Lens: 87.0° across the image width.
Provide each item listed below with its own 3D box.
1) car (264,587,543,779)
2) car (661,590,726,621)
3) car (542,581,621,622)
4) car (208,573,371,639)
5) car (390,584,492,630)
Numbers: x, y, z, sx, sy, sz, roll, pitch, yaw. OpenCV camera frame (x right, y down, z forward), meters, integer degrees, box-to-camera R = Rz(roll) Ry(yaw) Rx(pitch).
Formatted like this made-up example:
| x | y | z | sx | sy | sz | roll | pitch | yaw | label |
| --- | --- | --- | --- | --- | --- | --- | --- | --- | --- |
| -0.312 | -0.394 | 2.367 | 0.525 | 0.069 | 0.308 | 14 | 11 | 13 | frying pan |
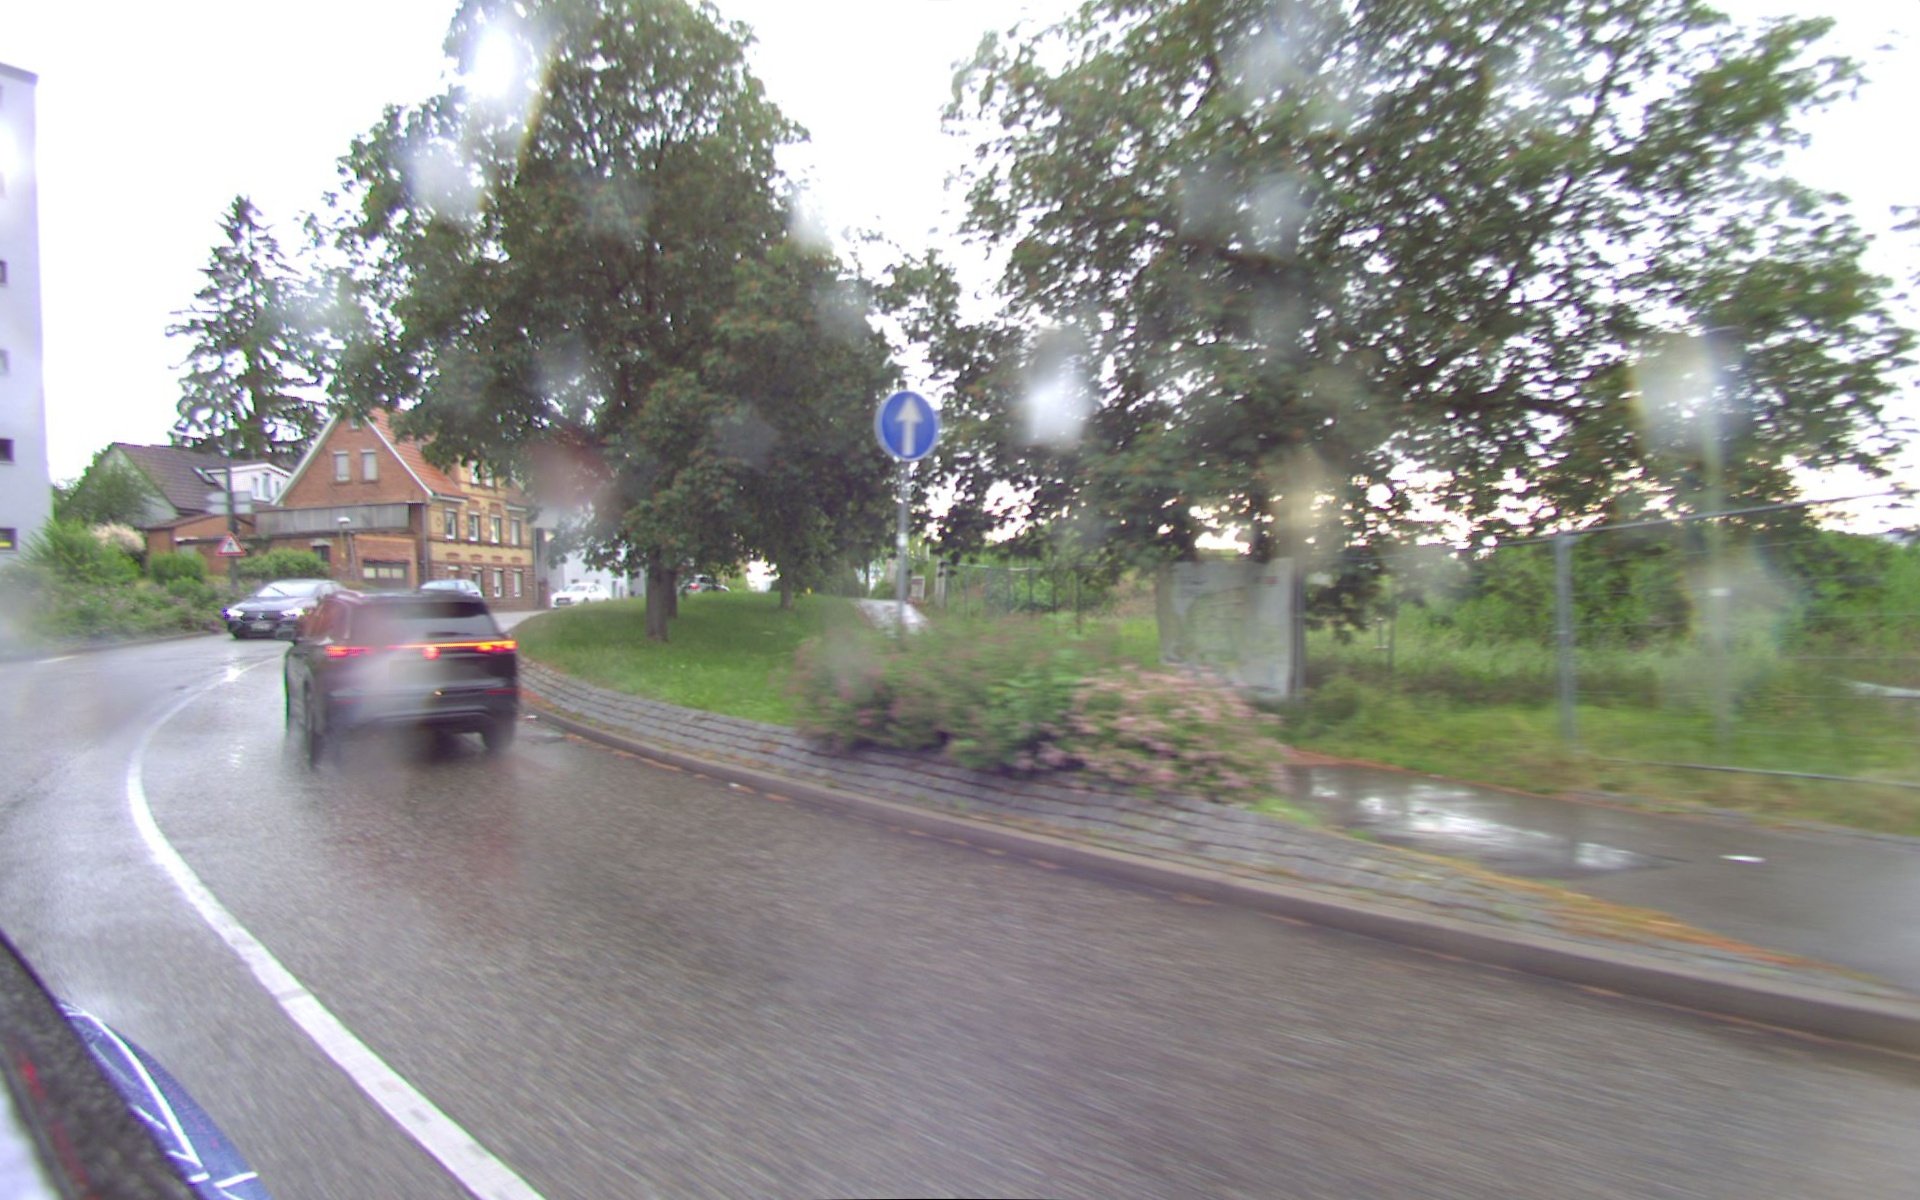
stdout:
| x | y | z | sx | sy | sz | roll | pitch | yaw | label |
| --- | --- | --- | --- | --- | --- | --- | --- | --- | --- |
| -6.070 | 0.740 | 10.760 | 1.869 | 1.607 | 4.363 | 1 | -2 | -39 | car |
| -14.396 | 0.247 | 54.896 | 1.716 | 1.554 | 4.284 | 1 | 1 | 12 | car |
| -19.933 | 0.124 | 53.533 | 1.878 | 1.672 | 4.935 | -4 | -4 | 6 | car |
| -18.275 | 0.229 | 27.902 | 1.810 | 1.525 | 4.856 | -4 | -2 | -9 | car |
| -19.415 | 0.312 | 38.101 | 1.764 | 1.357 | 4.951 | -3 | -3 | -7 | car |
